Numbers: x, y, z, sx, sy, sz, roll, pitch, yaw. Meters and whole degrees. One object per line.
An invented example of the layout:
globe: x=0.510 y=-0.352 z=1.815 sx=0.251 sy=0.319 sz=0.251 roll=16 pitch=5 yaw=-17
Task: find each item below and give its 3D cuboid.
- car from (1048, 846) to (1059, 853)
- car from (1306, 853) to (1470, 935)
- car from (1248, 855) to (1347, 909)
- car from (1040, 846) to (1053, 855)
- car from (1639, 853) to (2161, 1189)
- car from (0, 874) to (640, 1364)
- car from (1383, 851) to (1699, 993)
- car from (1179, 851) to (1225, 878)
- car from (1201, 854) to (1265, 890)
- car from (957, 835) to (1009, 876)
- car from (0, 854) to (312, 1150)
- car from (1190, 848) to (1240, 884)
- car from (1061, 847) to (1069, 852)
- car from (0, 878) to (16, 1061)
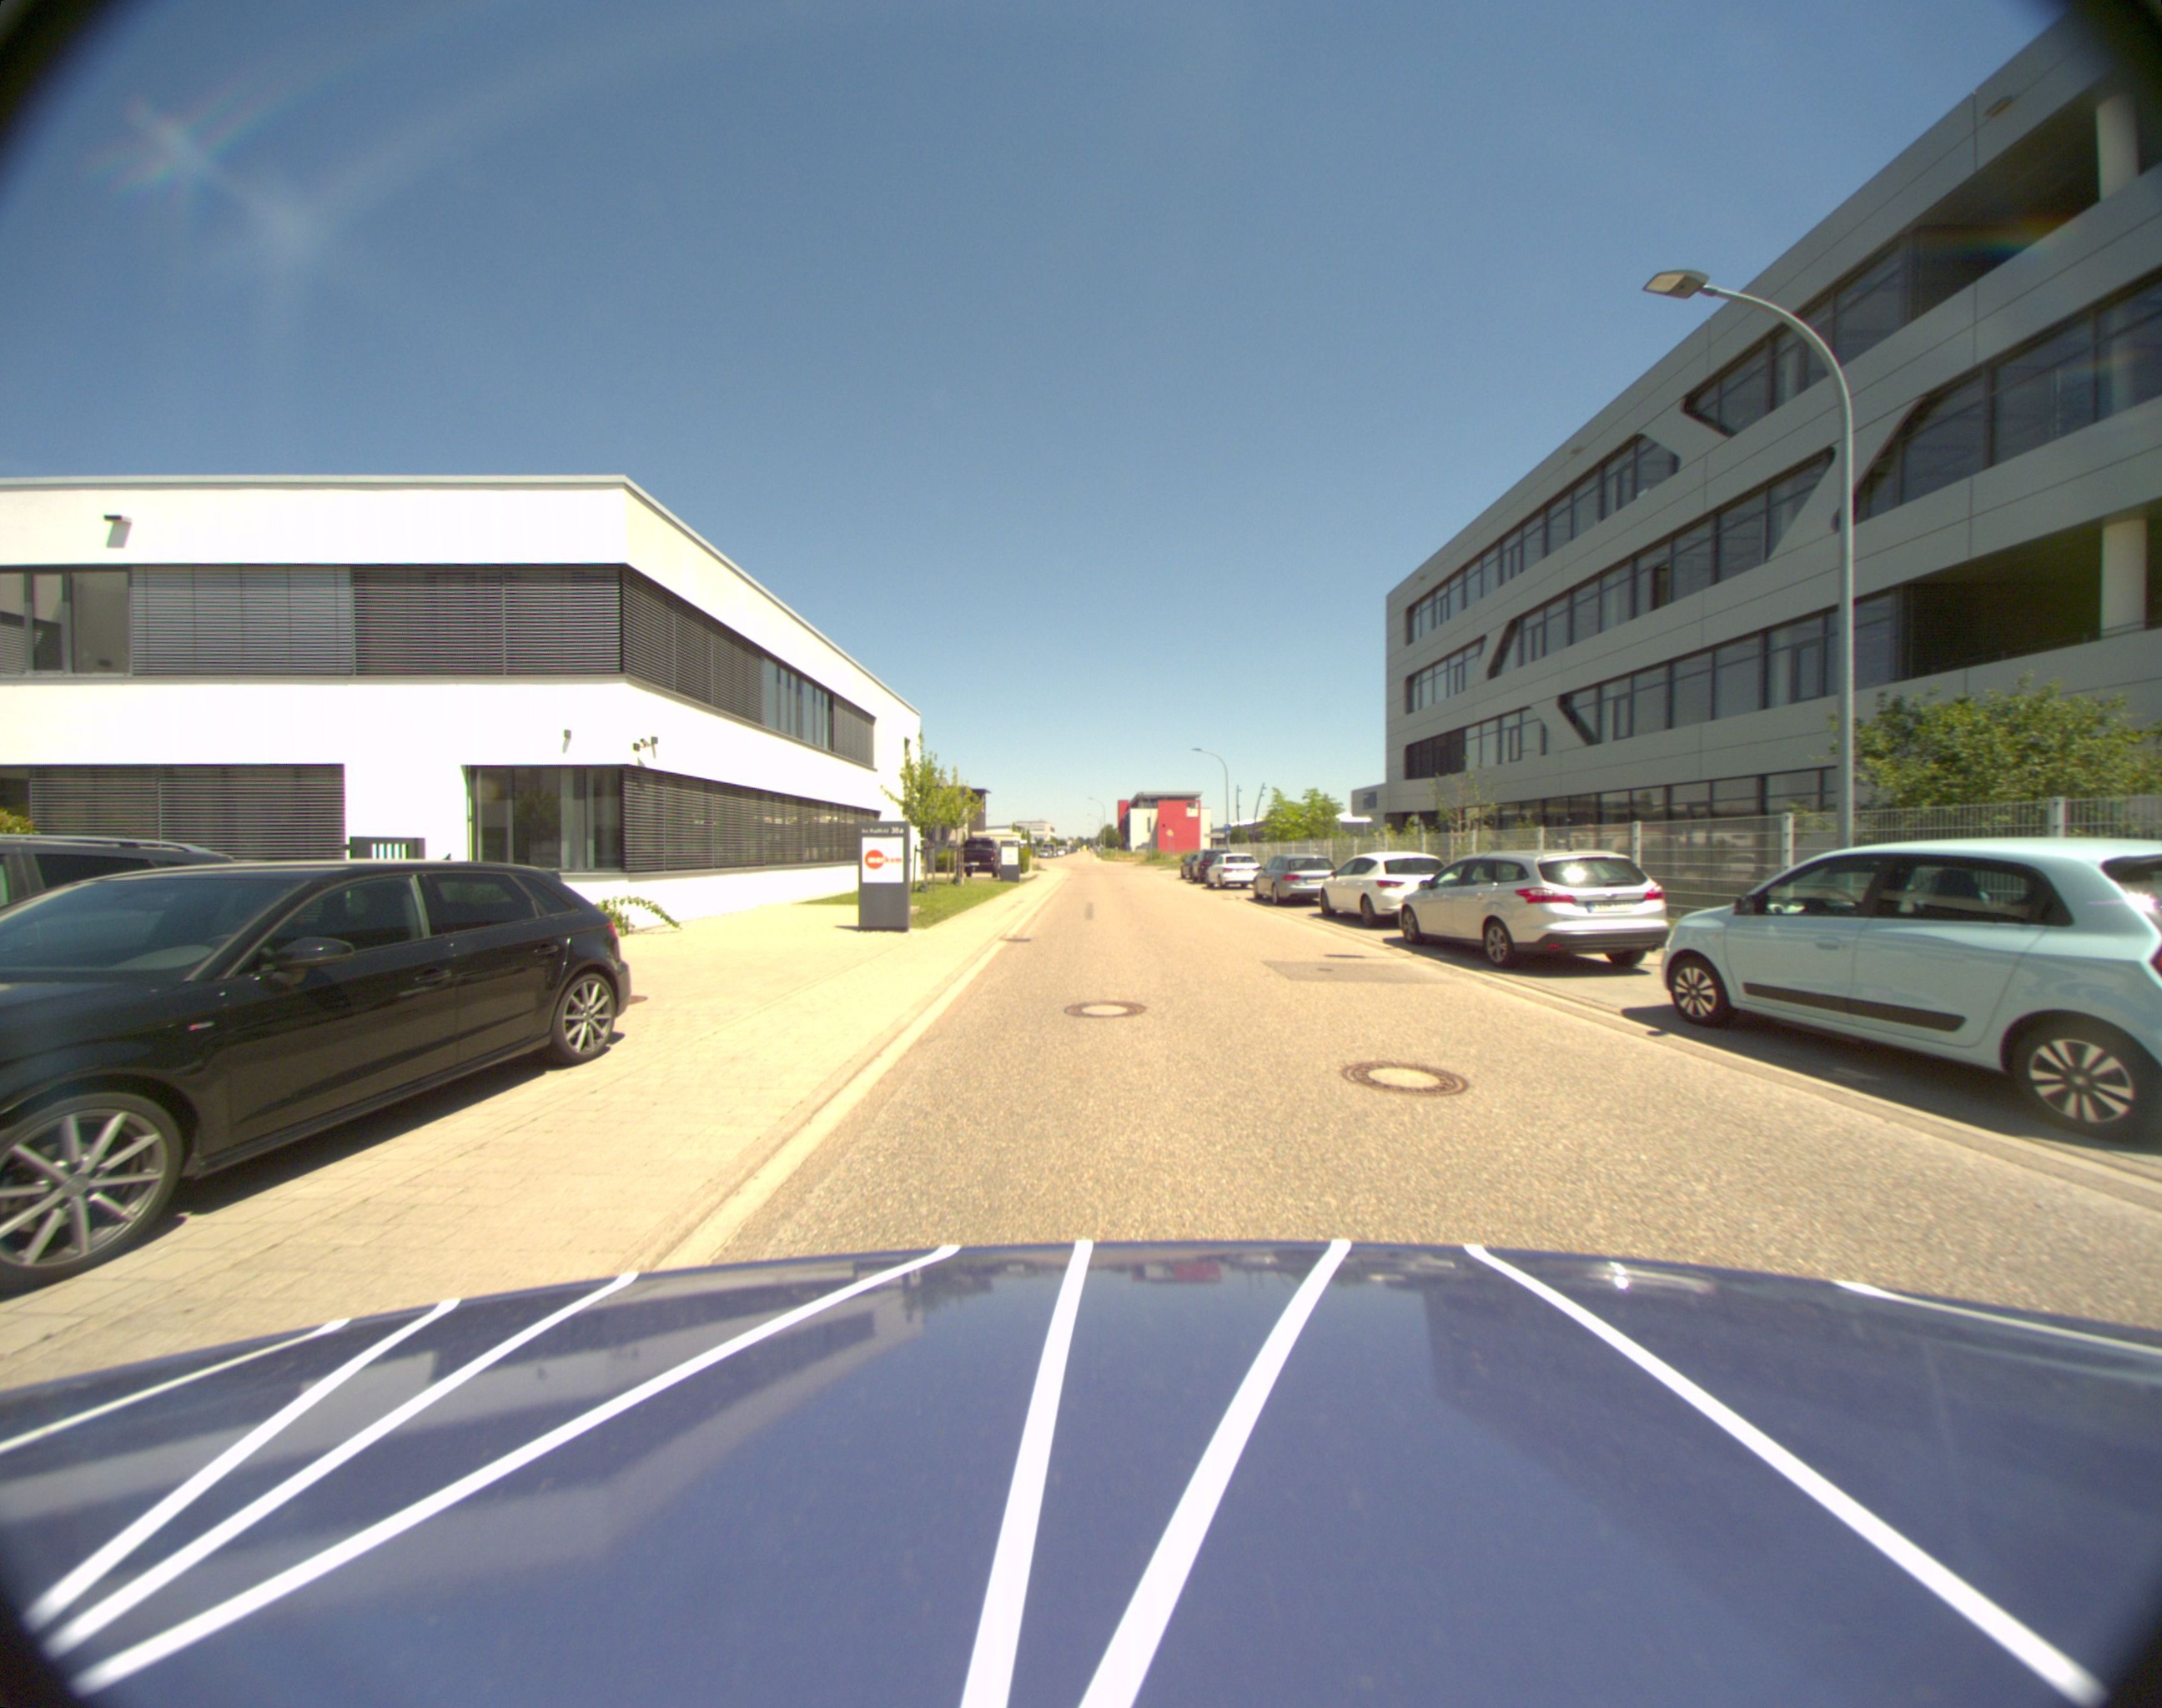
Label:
car: x=-4.973 y=-0.855 z=136.938 sx=1.828 sy=1.269 sz=3.885 roll=0 pitch=1 yaw=1
car: x=6.342 y=0.730 z=16.276 sx=1.707 sy=1.435 sz=4.439 roll=-2 pitch=1 yaw=0
car: x=6.219 y=0.740 z=22.353 sx=1.688 sy=1.378 sz=4.639 roll=-1 pitch=0 yaw=1
car: x=-5.457 y=-0.553 z=120.602 sx=1.828 sy=1.269 sz=3.885 roll=0 pitch=1 yaw=1
car: x=5.945 y=0.791 z=5.150 sx=1.639 sy=1.527 sz=3.657 roll=-2 pitch=1 yaw=0
car: x=-4.259 y=0.904 z=3.665 sx=1.696 sy=1.419 sz=4.245 roll=-1 pitch=1 yaw=1
car: x=6.051 y=0.752 z=10.784 sx=1.707 sy=1.527 sz=4.571 roll=-2 pitch=1 yaw=0
car: x=6.745 y=0.555 z=42.696 sx=1.774 sy=1.458 sz=4.185 roll=-1 pitch=0 yaw=-1
car: x=6.156 y=0.685 z=31.213 sx=1.704 sy=1.378 sz=3.936 roll=-1 pitch=0 yaw=-2
car: x=-4.991 y=0.148 z=39.501 sx=1.999 sy=2.001 sz=5.801 roll=0 pitch=-1 yaw=-1
car: x=-6.882 y=0.855 z=3.885 sx=1.727 sy=1.623 sz=4.022 roll=-1 pitch=1 yaw=1
car: x=6.492 y=0.537 z=37.287 sx=1.774 sy=1.641 sz=4.851 roll=-1 pitch=0 yaw=3
car: x=-4.186 y=-1.165 z=200.140 sx=1.828 sy=1.269 sz=3.885 roll=0 pitch=1 yaw=1
car: x=-9.418 y=0.951 z=4.053 sx=1.727 sy=1.441 sz=4.022 roll=-1 pitch=1 yaw=1
